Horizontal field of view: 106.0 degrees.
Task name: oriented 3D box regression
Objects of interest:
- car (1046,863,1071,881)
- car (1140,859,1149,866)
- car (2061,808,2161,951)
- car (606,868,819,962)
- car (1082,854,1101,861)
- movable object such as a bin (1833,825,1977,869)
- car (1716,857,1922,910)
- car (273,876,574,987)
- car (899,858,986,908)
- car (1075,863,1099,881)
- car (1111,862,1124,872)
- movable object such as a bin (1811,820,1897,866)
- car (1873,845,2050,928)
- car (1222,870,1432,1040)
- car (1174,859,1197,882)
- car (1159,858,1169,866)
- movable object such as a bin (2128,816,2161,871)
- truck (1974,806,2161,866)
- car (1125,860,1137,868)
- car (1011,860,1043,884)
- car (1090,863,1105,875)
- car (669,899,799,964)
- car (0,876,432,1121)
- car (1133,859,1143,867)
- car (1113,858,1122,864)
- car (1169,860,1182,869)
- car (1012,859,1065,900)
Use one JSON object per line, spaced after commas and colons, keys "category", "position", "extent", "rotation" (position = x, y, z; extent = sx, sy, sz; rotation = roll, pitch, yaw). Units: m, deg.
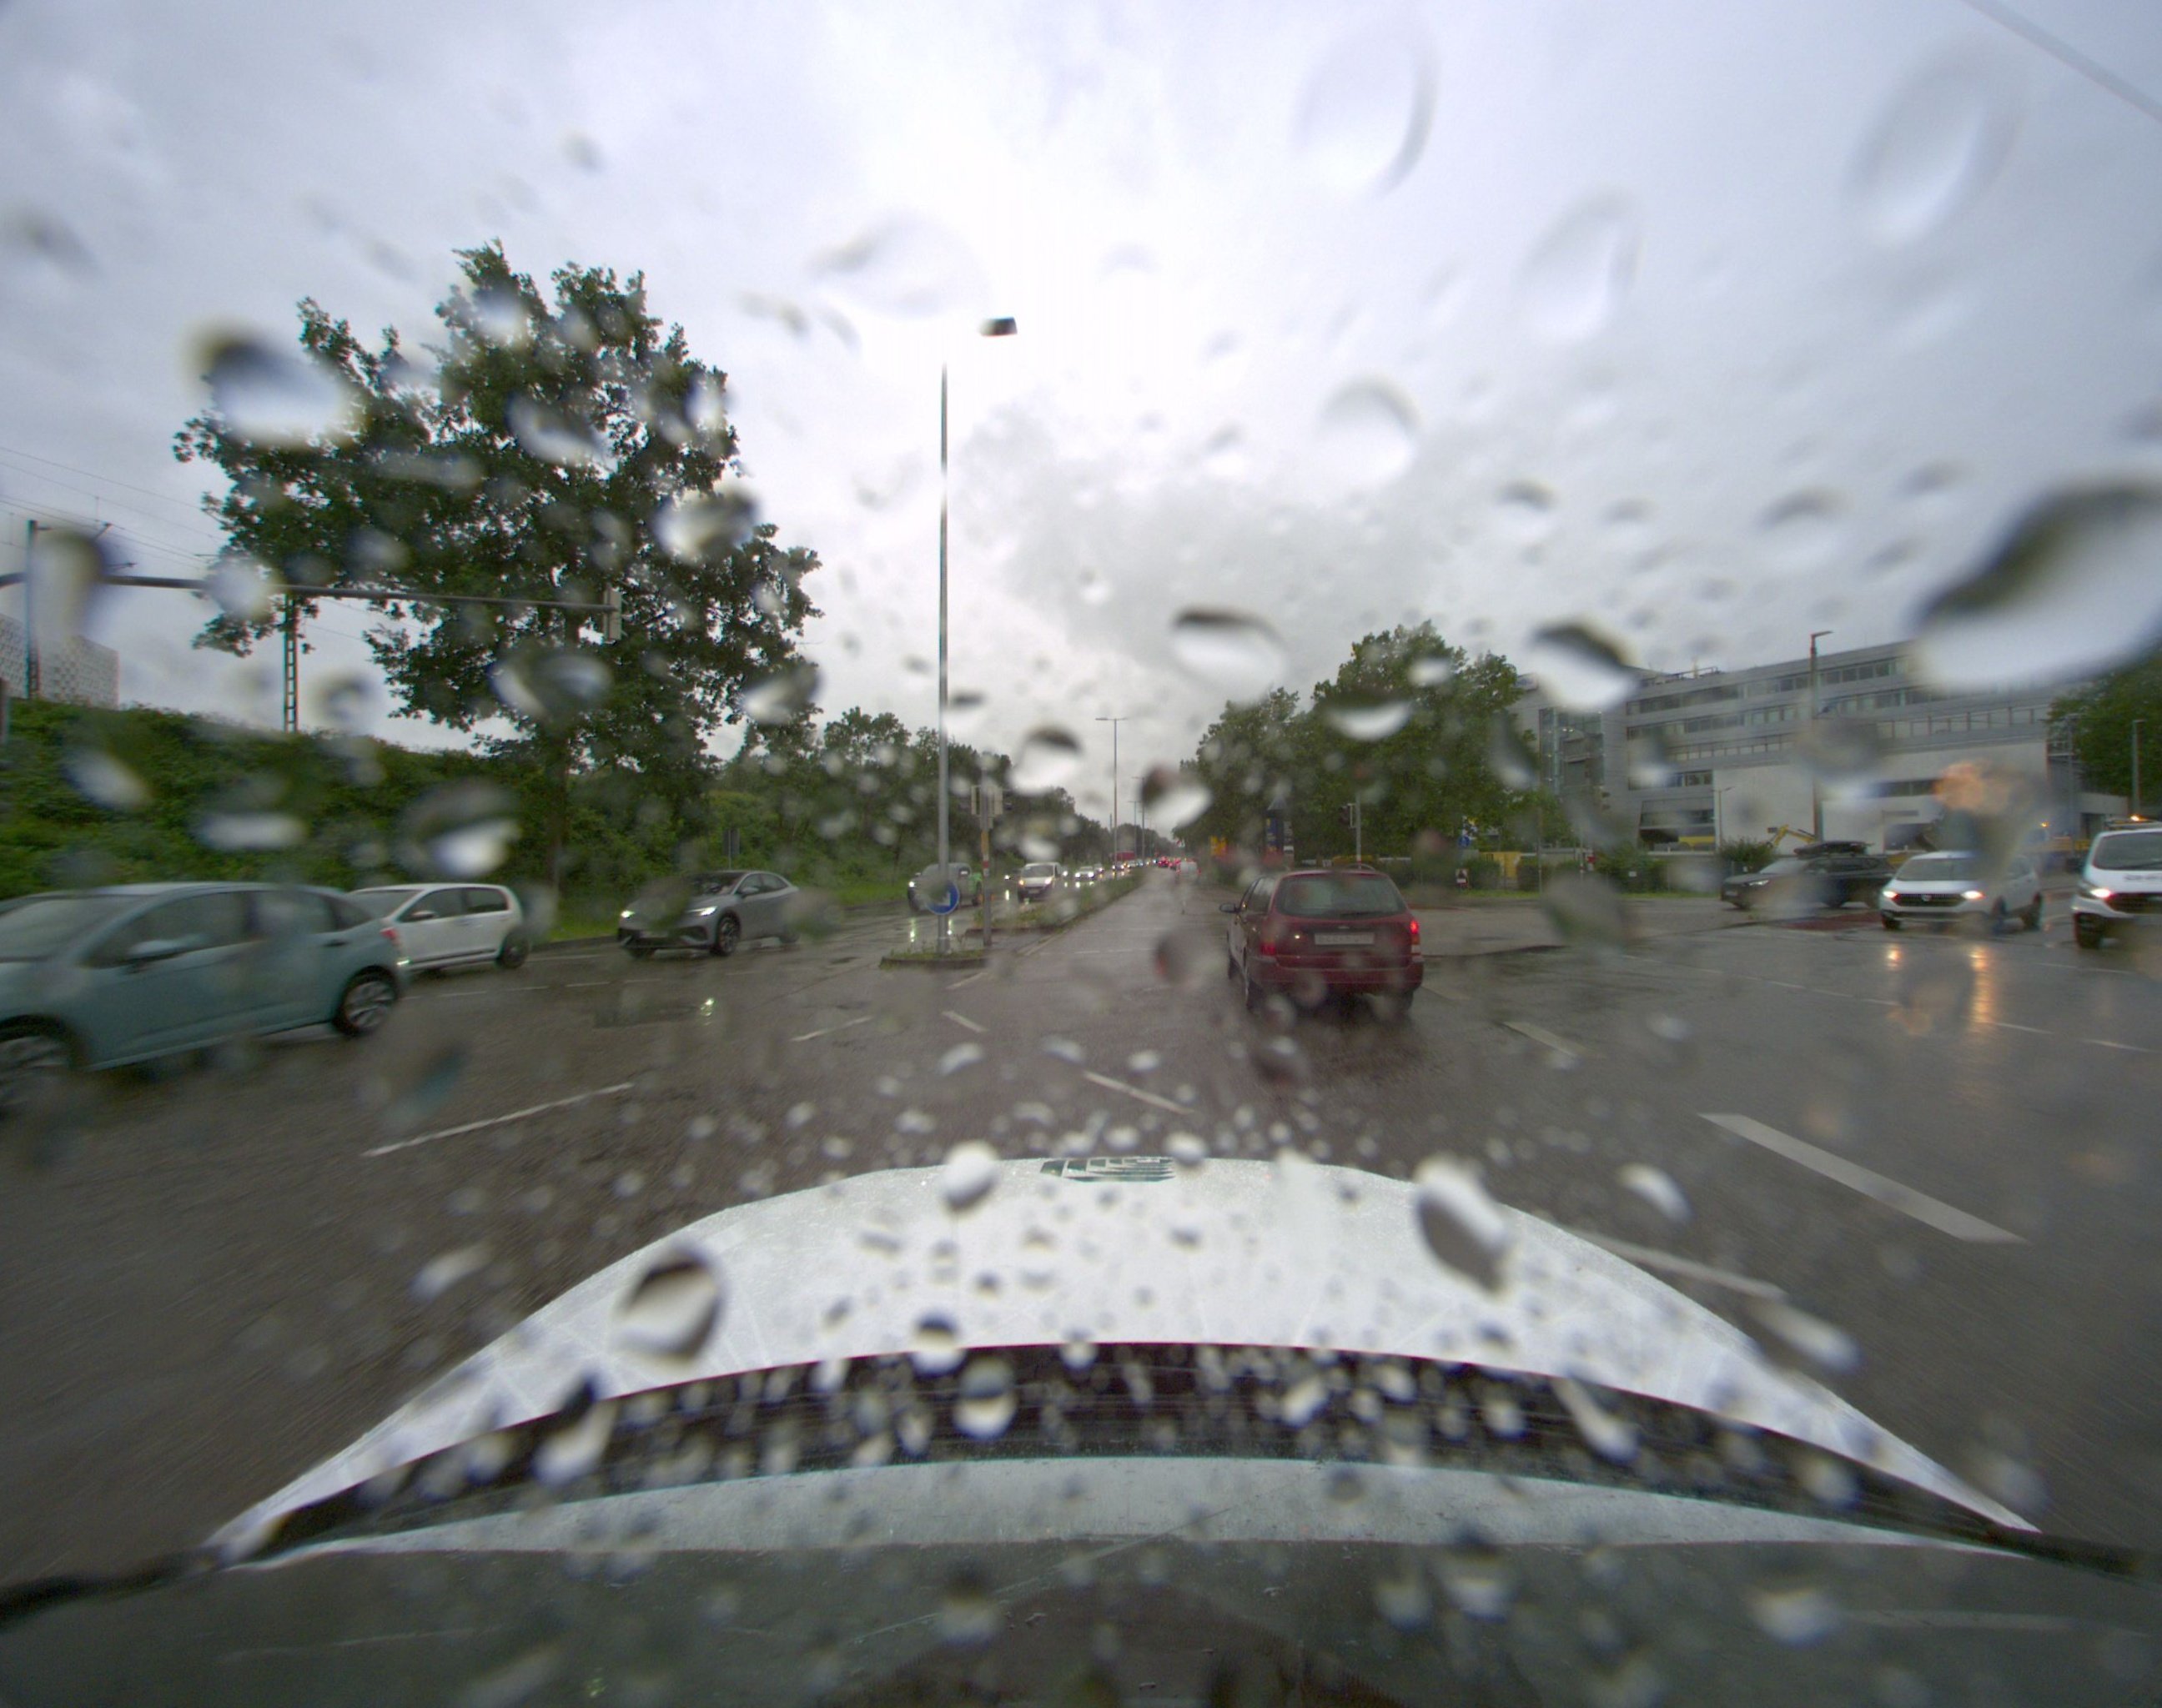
{"category": "car", "position": [-2.279, 1.841, 84.123], "extent": [1.953, 1.702, 4.290], "rotation": [-1, 0, 6]}
{"category": "car", "position": [15.612, 2.147, 198.796], "extent": [1.953, 1.597, 4.292], "rotation": [-1, 0, 7]}
{"category": "car", "position": [18.078, 0.371, 13.242], "extent": [4.703, 2.125, 1.980], "rotation": [0, -1, -31]}
{"category": "car", "position": [-7.171, 1.103, 16.508], "extent": [1.754, 1.586, 4.820], "rotation": [-1, -1, 5]}
{"category": "car", "position": [2.711, 0.855, 206.647], "extent": [4.295, 1.597, 1.951], "rotation": [-1, -1, -29]}
{"category": "movable object such as a bin", "position": [59.440, -0.446, 58.952], "extent": [3.338, 2.996, 6.658], "rotation": [-1, -1, -29]}
{"category": "car", "position": [22.749, 0.893, 25.240], "extent": [4.609, 1.524, 1.802], "rotation": [-1, -1, 4]}
{"category": "car", "position": [-10.404, 1.143, 13.308], "extent": [1.630, 1.452, 3.792], "rotation": [-1, 0, 5]}
{"category": "car", "position": [-5.464, 1.105, 32.948], "extent": [2.055, 1.819, 5.550], "rotation": [-1, 0, 6]}
{"category": "car", "position": [0.639, 1.771, 81.627], "extent": [1.953, 1.702, 4.290], "rotation": [-1, 0, 6]}
{"category": "car", "position": [6.080, 2.086, 135.514], "extent": [1.953, 1.597, 4.290], "rotation": [-1, 0, 6]}
{"category": "movable object such as a bin", "position": [52.033, -0.701, 54.856], "extent": [3.338, 2.996, 3.300], "rotation": [-1, -1, -29]}
{"category": "car", "position": [19.372, 0.648, 17.878], "extent": [4.396, 1.621, 1.759], "rotation": [0, -1, -31]}
{"category": "car", "position": [2.608, 0.974, 9.473], "extent": [1.634, 1.465, 3.738], "rotation": [1, 0, 6]}
{"category": "car", "position": [8.324, 1.285, 64.949], "extent": [1.727, 1.726, 4.250], "rotation": [1, 0, 6]}
{"category": "car", "position": [16.702, 1.629, 163.765], "extent": [1.688, 1.528, 3.854], "rotation": [-1, -1, 8]}
{"category": "movable object such as a bin", "position": [72.072, -0.710, 53.311], "extent": [6.338, 3.507, 3.297], "rotation": [-1, -1, -29]}
{"category": "truck", "position": [63.053, -1.019, 51.823], "extent": [3.337, 3.507, 7.816], "rotation": [-1, -1, -28]}
{"category": "car", "position": [9.497, 1.867, 153.549], "extent": [1.953, 1.597, 4.292], "rotation": [-1, 0, 7]}
{"category": "car", "position": [-4.111, 1.383, 62.776], "extent": [1.735, 1.702, 4.290], "rotation": [2, 0, 6]}
{"category": "car", "position": [2.452, 2.213, 119.721], "extent": [1.953, 1.597, 4.290], "rotation": [-1, 0, 6]}
{"category": "car", "position": [-9.310, 2.031, 22.204], "extent": [1.583, 1.404, 3.829], "rotation": [-1, 0, 6]}
{"category": "car", "position": [-7.615, 0.973, 6.475], "extent": [1.632, 1.473, 3.966], "rotation": [-1, 0, 1]}
{"category": "car", "position": [12.413, 2.000, 177.165], "extent": [1.953, 1.597, 4.292], "rotation": [-1, 0, 7]}
{"category": "car", "position": [9.375, 1.814, 208.548], "extent": [1.953, 1.597, 4.290], "rotation": [-1, 0, 6]}
{"category": "car", "position": [17.346, 1.883, 149.046], "extent": [2.135, 1.528, 4.203], "rotation": [-1, -1, 9]}
{"category": "car", "position": [-1.874, 1.125, 37.436], "extent": [1.735, 1.702, 4.290], "rotation": [-2, -1, 6]}
